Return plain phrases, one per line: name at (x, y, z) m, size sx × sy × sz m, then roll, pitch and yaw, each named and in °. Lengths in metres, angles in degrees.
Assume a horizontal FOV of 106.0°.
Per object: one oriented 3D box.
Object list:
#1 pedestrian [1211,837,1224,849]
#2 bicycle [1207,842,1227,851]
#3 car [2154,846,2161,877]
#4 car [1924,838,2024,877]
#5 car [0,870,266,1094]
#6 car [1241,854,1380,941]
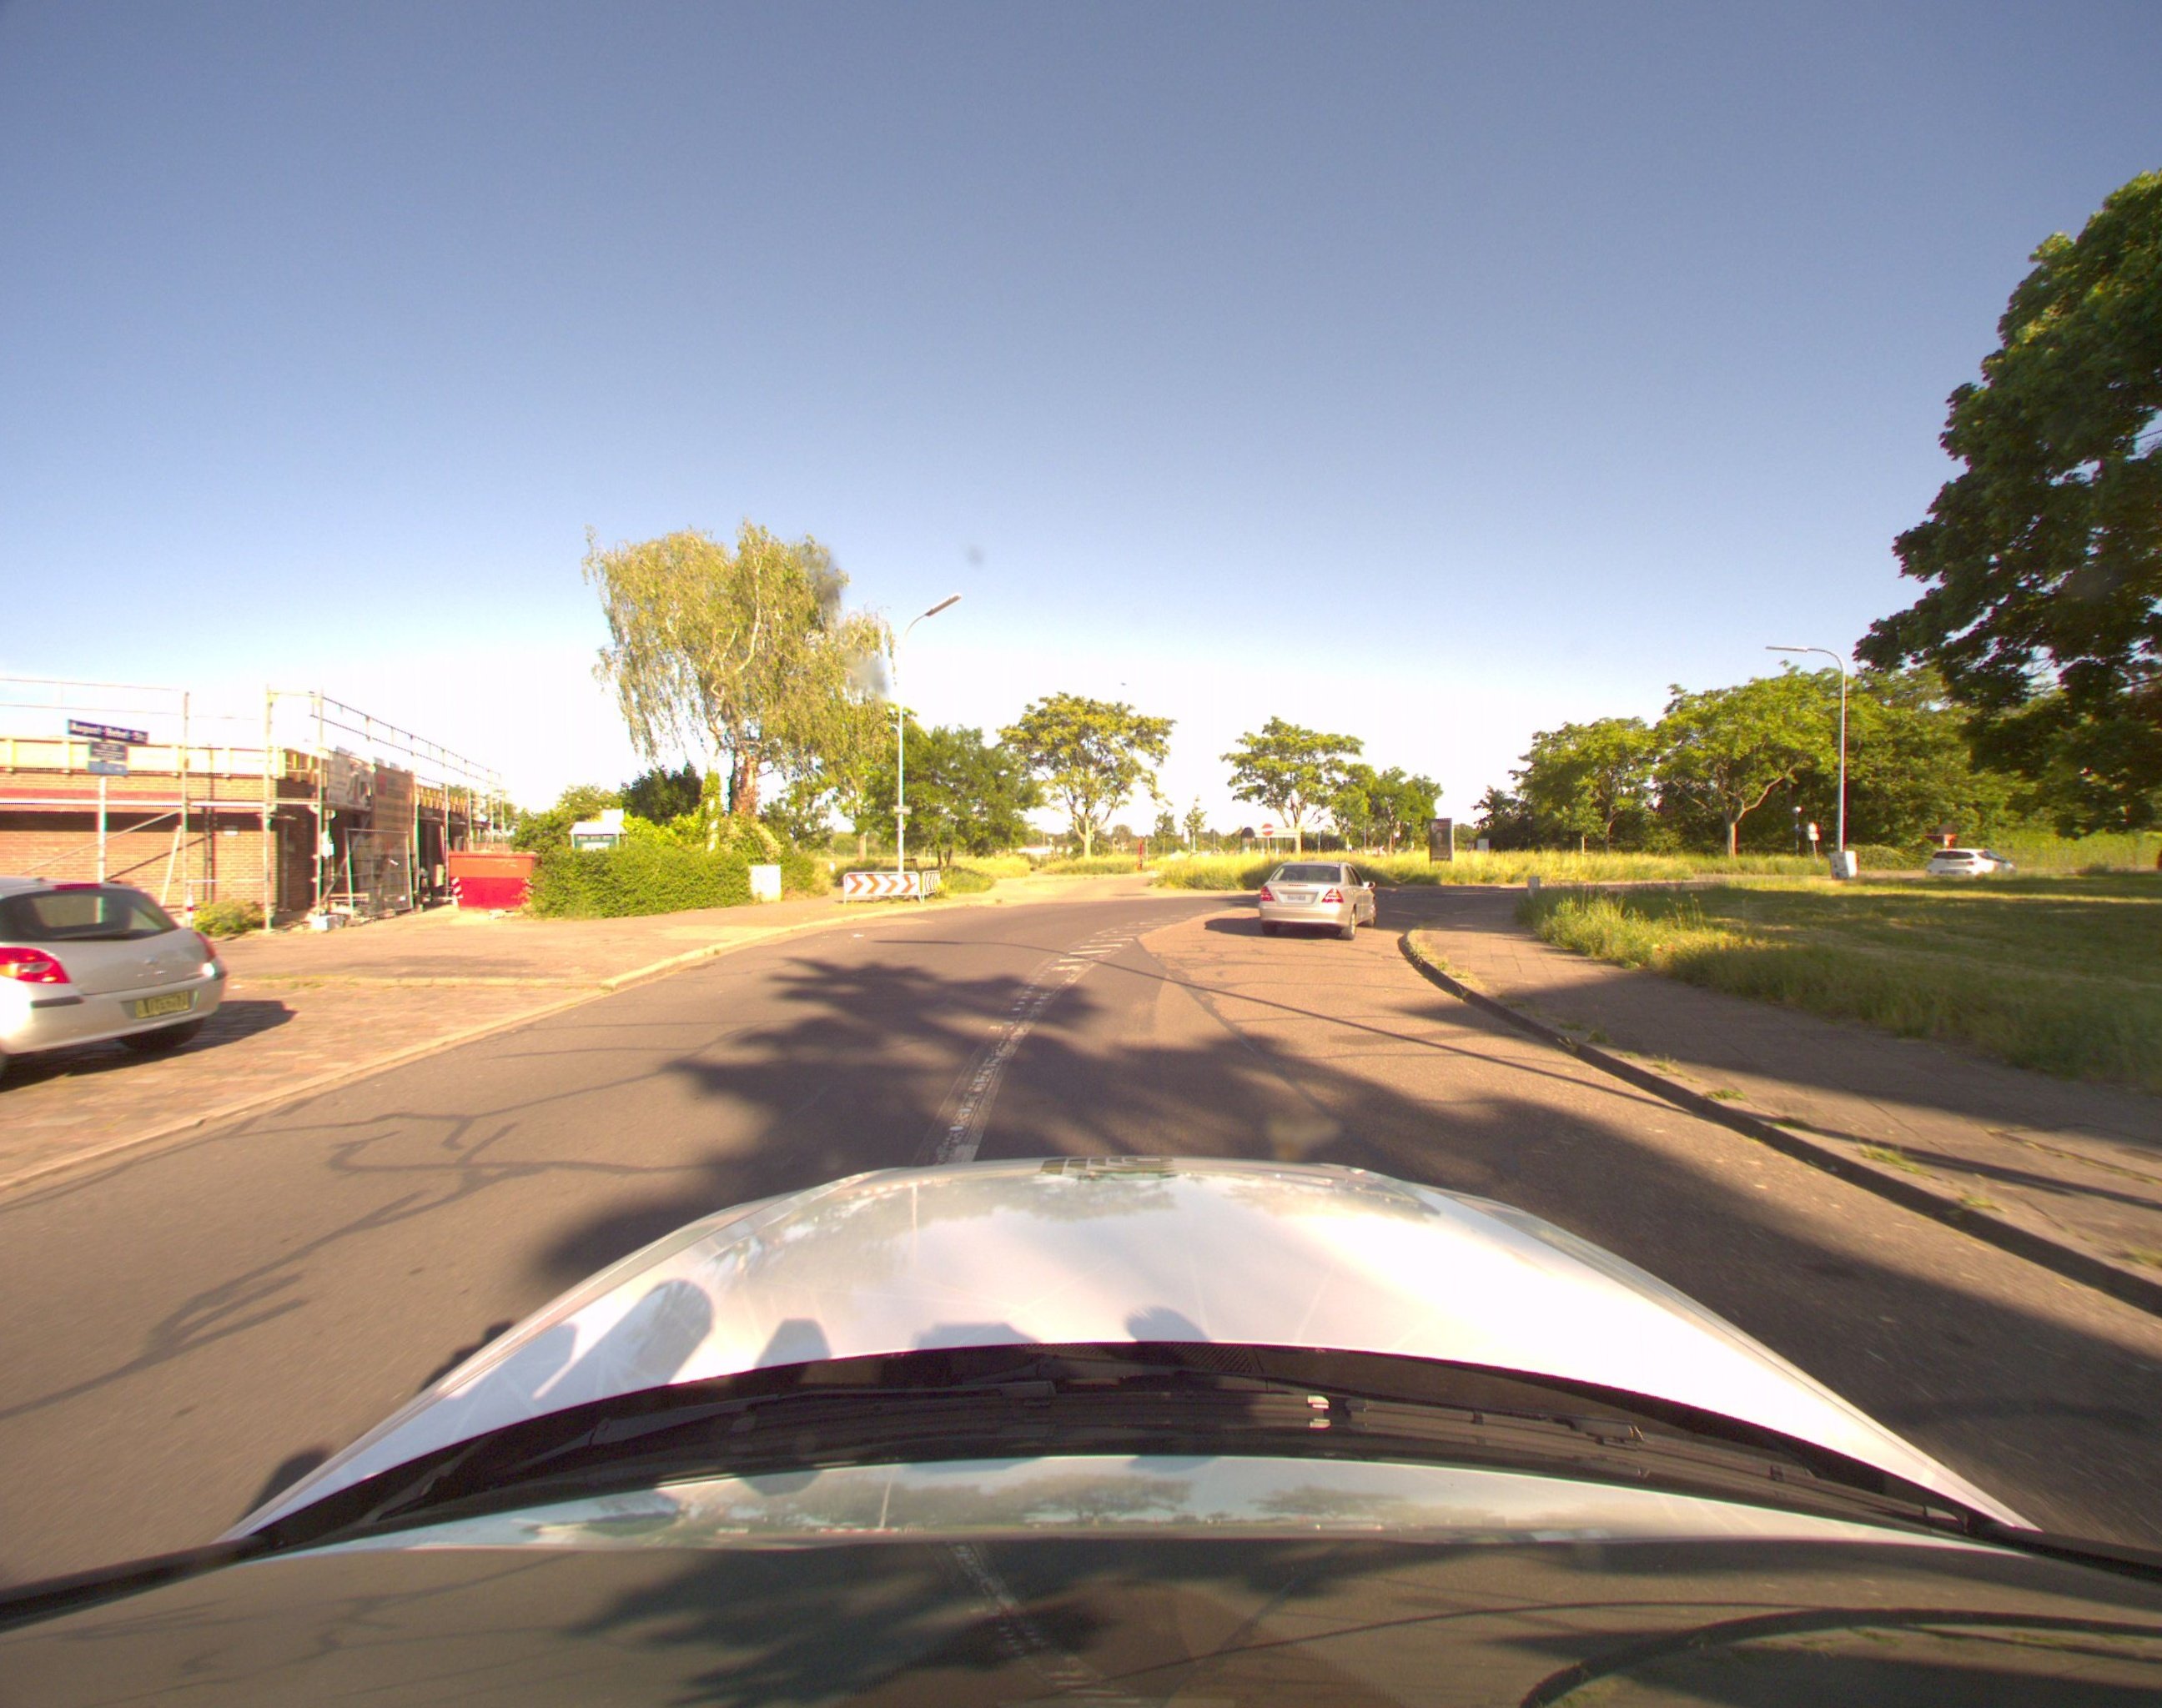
pedestrian at (10.895, -0.873, 65.062) m, size 0.802 × 0.940 × 0.697 m, roll 0°, pitch 0°, yaw -28°
bicycle at (10.869, -0.623, 65.060) m, size 1.580 × 0.704 × 0.648 m, roll 0°, pitch 0°, yaw -29°
car at (57.894, 0.331, 42.166) m, size 4.001 × 1.611 × 1.692 m, roll -1°, pitch -1°, yaw -21°
car at (38.848, 0.141, 35.431) m, size 3.743 × 1.479 × 1.714 m, roll -3°, pitch -1°, yaw -22°
car at (-8.815, 0.864, 5.985) m, size 3.686 × 1.459 × 1.629 m, roll 0°, pitch 0°, yaw -9°
car at (4.751, 0.754, 16.391) m, size 1.799 × 1.463 × 4.387 m, roll 1°, pitch 1°, yaw 28°
